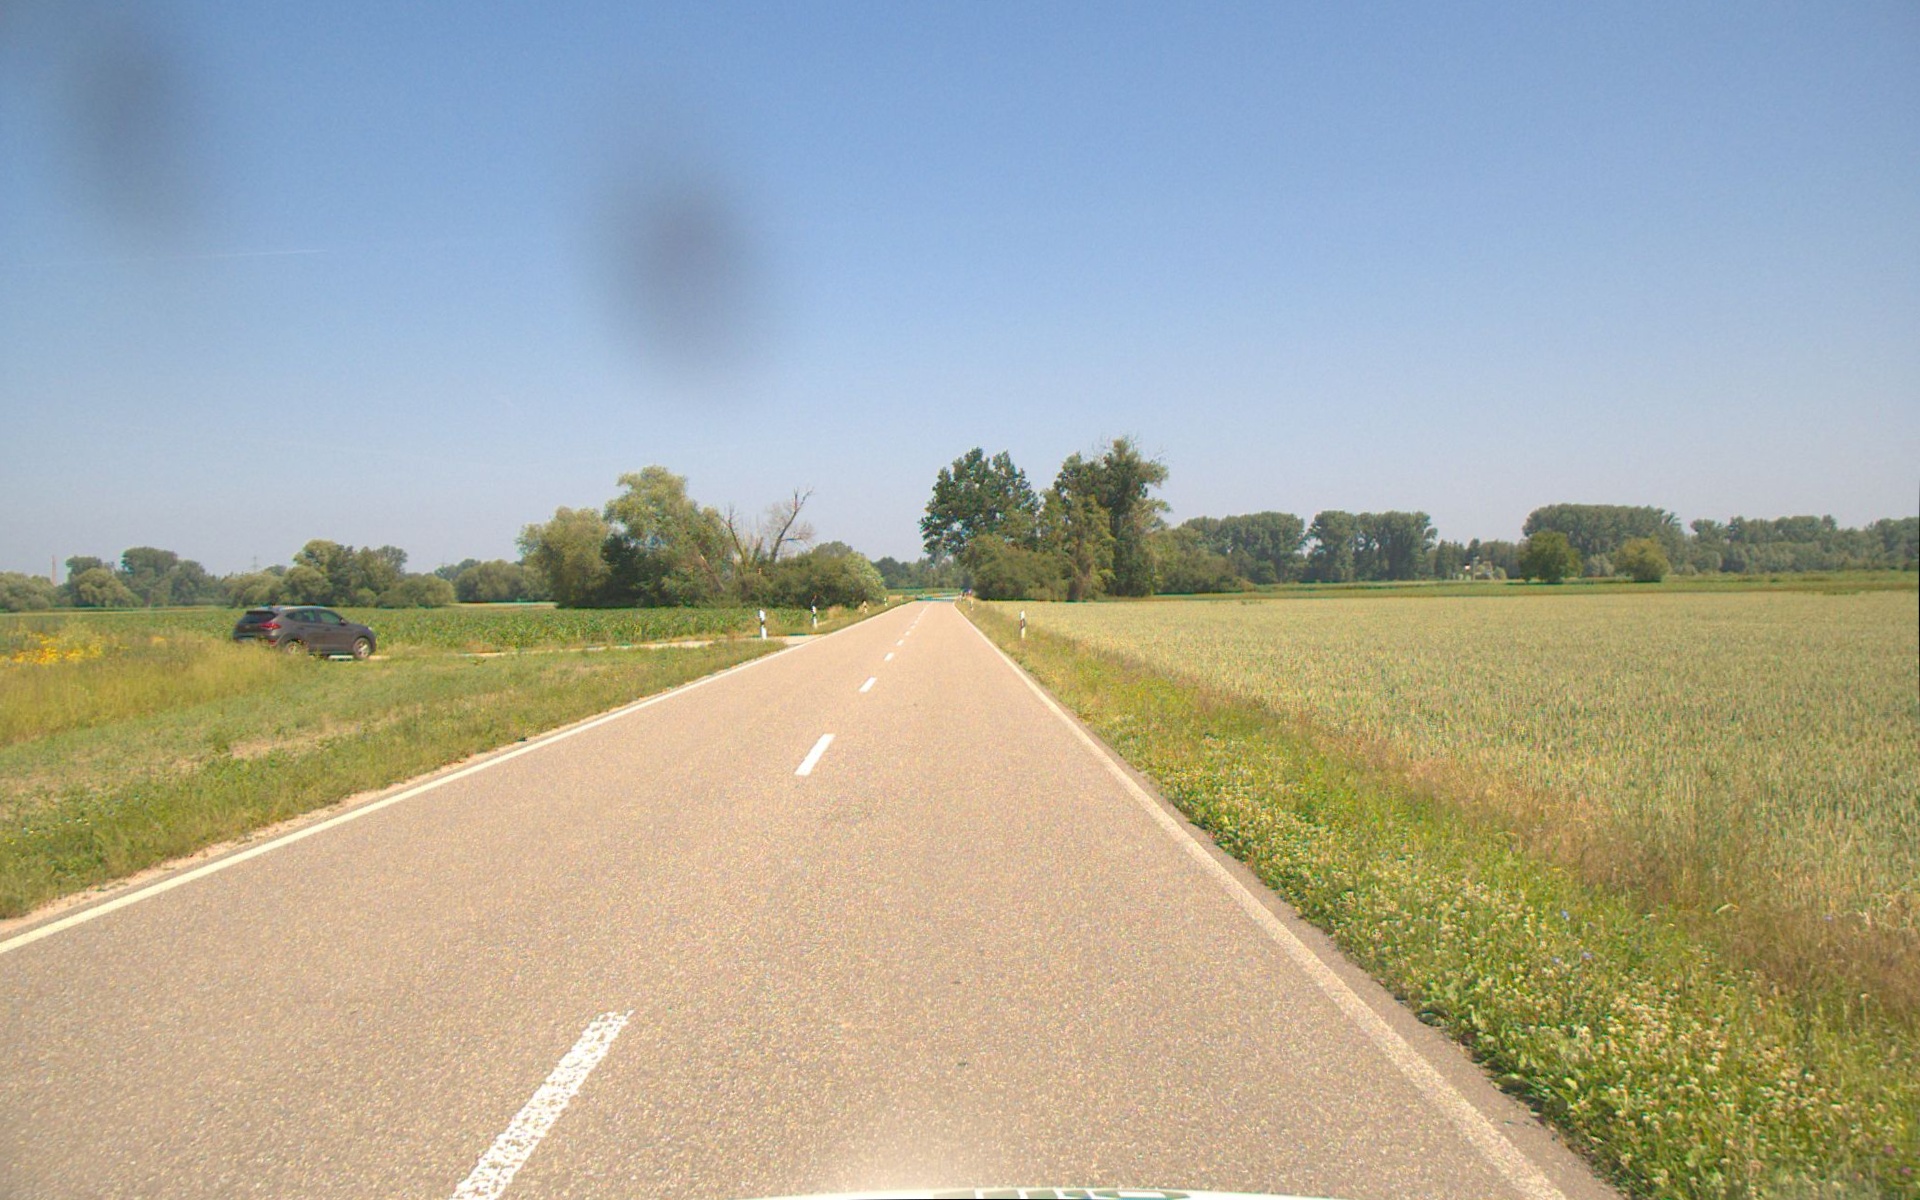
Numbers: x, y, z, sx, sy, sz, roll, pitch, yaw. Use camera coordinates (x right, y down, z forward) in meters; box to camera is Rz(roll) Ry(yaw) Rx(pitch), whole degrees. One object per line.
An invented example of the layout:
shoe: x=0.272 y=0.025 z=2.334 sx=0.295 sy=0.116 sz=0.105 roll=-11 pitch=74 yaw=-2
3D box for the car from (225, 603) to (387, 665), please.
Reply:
car: x=-19.314 y=0.972 z=49.080 sx=1.718 sy=1.680 sz=4.527 roll=-1 pitch=0 yaw=25
